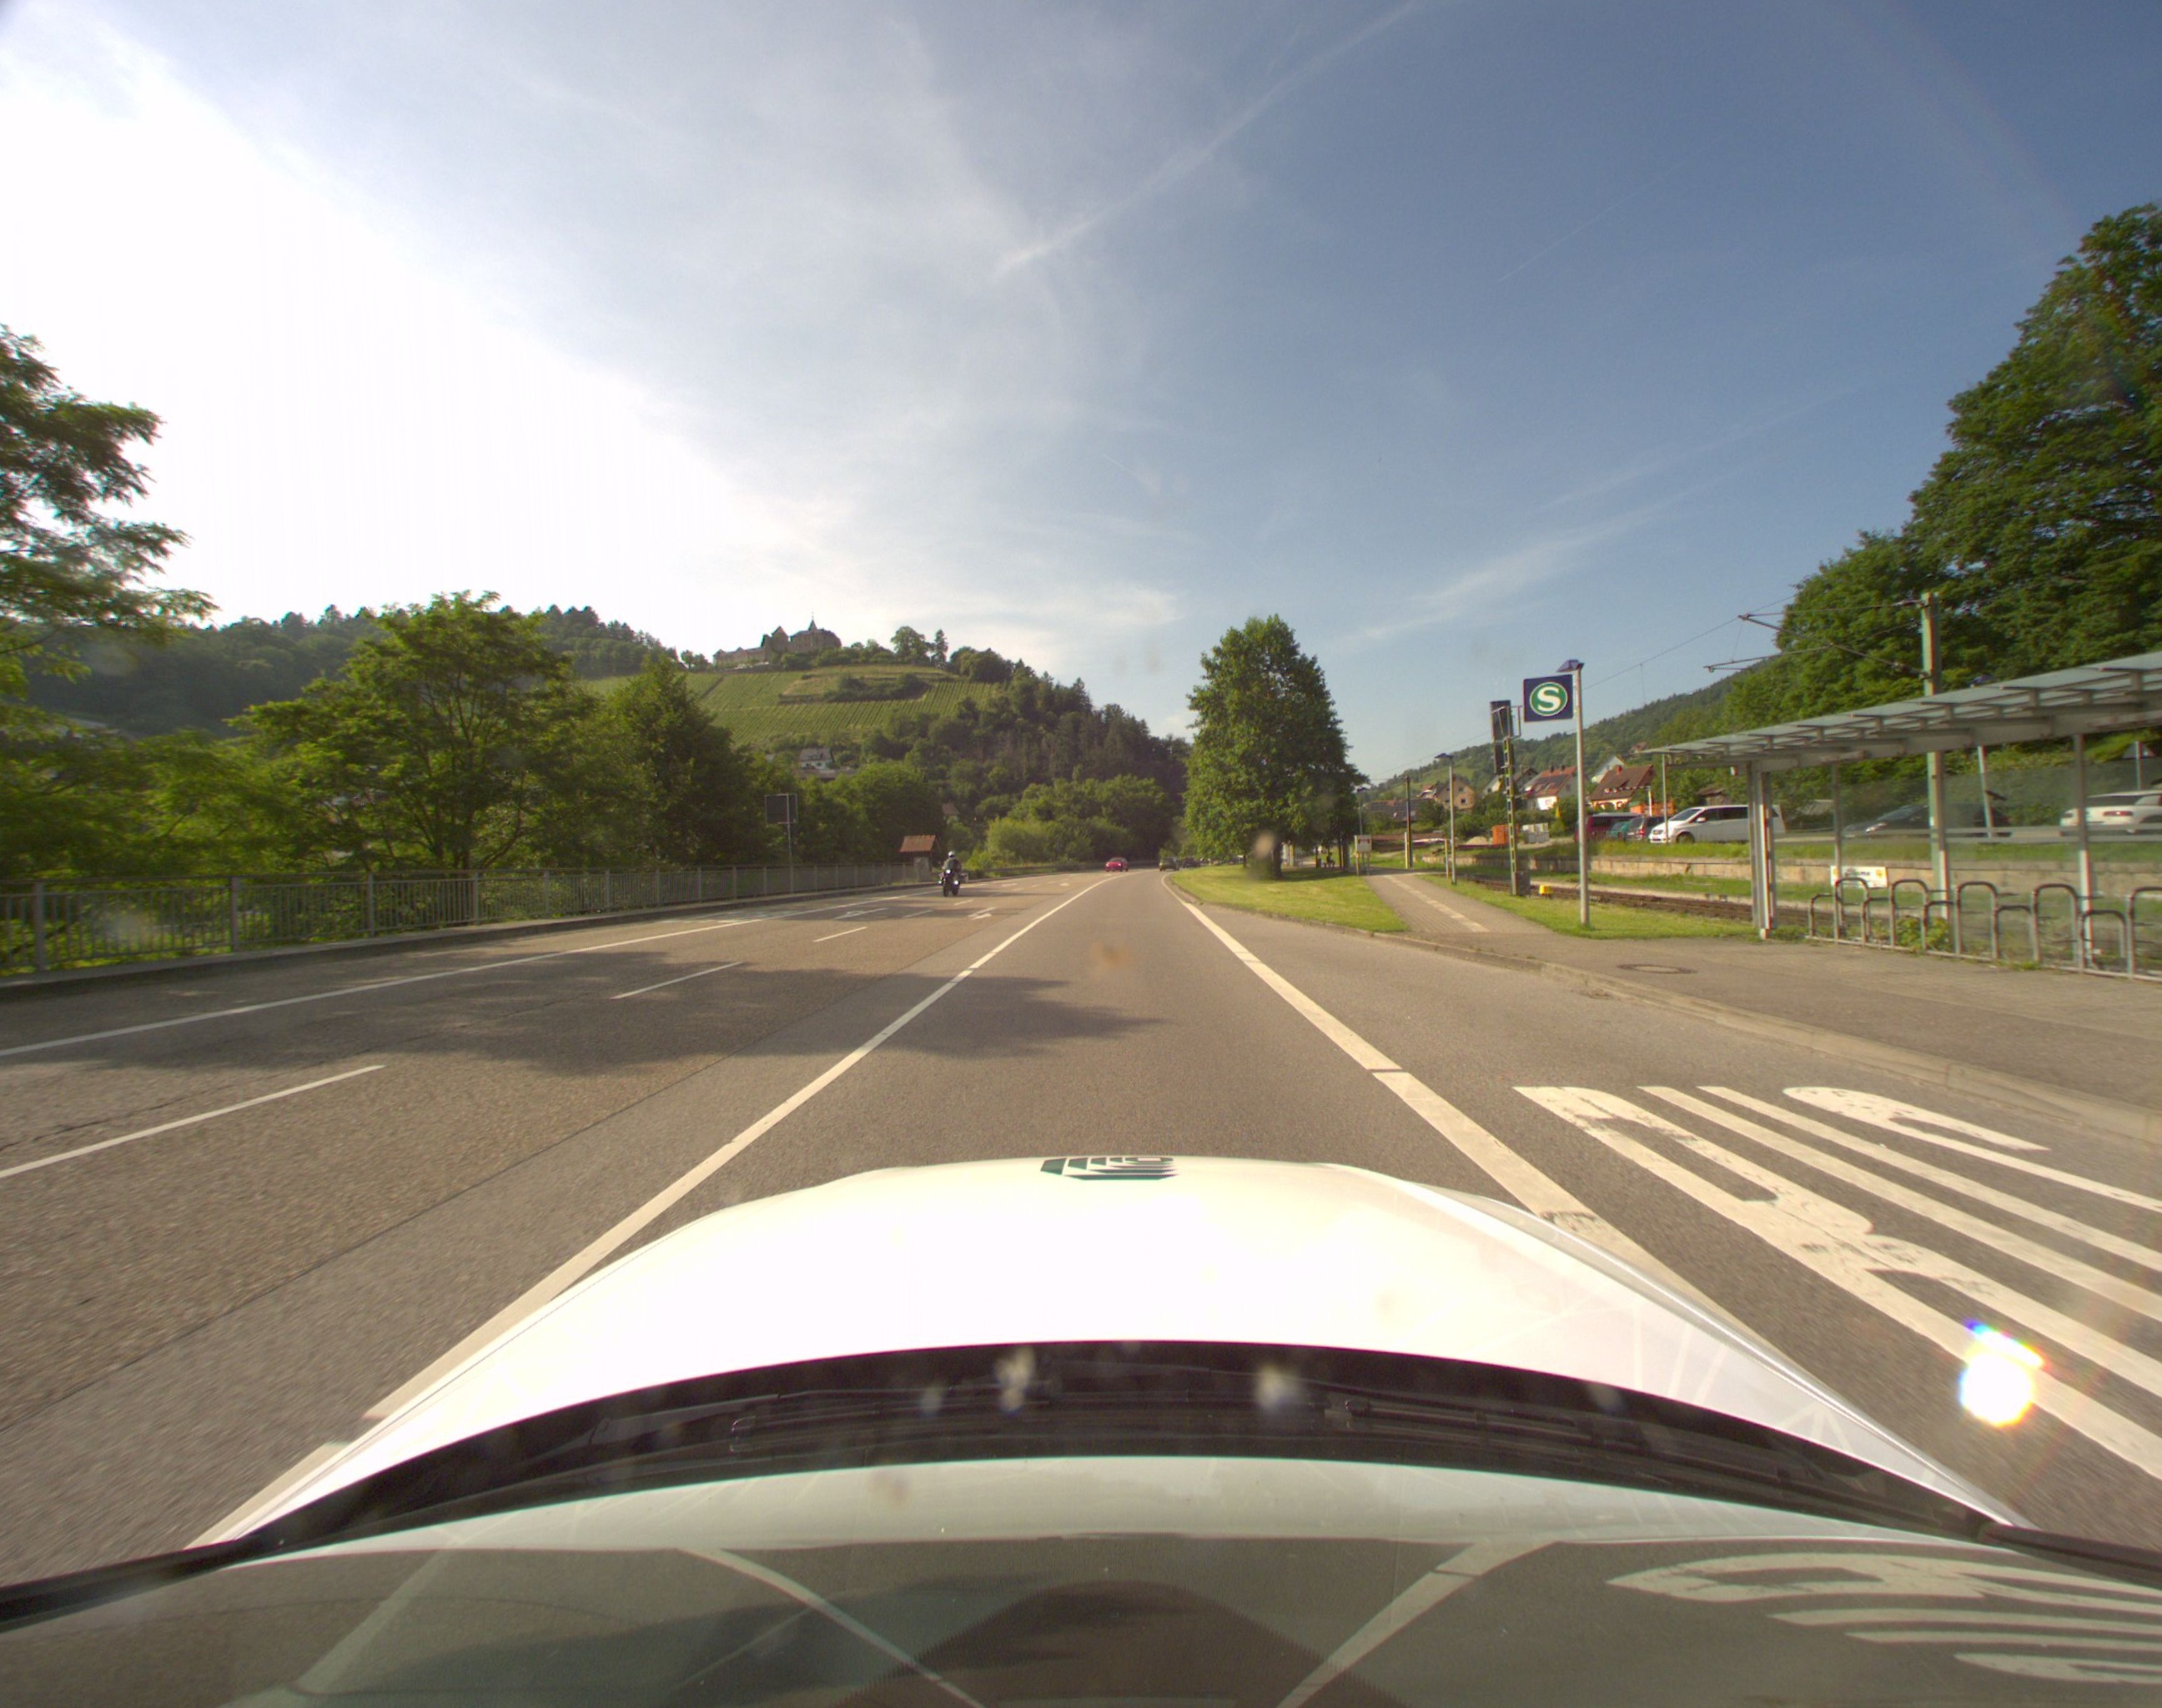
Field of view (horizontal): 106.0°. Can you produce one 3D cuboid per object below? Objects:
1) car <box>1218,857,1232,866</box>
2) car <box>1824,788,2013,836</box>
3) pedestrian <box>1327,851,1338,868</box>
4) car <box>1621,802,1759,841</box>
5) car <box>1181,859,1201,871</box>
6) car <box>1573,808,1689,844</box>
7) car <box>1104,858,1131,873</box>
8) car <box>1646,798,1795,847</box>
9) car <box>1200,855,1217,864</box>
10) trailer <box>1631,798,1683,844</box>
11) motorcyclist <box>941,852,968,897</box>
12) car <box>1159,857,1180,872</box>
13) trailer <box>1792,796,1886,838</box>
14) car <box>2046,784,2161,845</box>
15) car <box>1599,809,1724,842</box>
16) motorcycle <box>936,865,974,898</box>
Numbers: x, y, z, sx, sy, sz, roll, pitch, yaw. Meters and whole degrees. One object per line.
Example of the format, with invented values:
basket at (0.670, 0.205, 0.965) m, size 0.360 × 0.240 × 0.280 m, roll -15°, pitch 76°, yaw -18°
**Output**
car at (24.925, 1.334, 140.790) m, size 1.792 × 1.453 × 3.664 m, roll -4°, pitch -1°, yaw 18°
car at (28.259, -1.390, 27.616) m, size 4.241 × 1.343 × 1.835 m, roll -2°, pitch 0°, yaw 7°
pedestrian at (17.496, 0.372, 56.639) m, size 0.630 × 1.161 × 0.729 m, roll -4°, pitch -1°, yaw 16°
car at (29.391, -1.537, 39.460) m, size 4.924 × 1.587 × 2.146 m, roll -2°, pitch 0°, yaw 7°
car at (14.255, 1.406, 105.445) m, size 1.826 × 1.459 × 3.729 m, roll -4°, pitch -1°, yaw 16°
car at (30.162, -1.508, 44.778) m, size 4.924 × 1.690 × 1.940 m, roll -2°, pitch 0°, yaw 7°
car at (3.912, 1.210, 87.218) m, size 1.661 × 1.460 × 4.223 m, roll -2°, pitch 0°, yaw 20°
car at (28.998, -1.379, 37.085) m, size 4.924 × 1.943 × 2.146 m, roll -2°, pitch 0°, yaw 7°
car at (21.789, 0.928, 139.153) m, size 1.678 × 1.402 × 4.225 m, roll -2°, pitch 0°, yaw 24°
trailer at (52.879, -2.951, 74.925) m, size 2.582 × 3.893 × 7.779 m, roll -4°, pitch -1°, yaw 27°
motorcyclist at (-5.200, 0.819, 33.570) m, size 0.841 × 1.784 × 1.173 m, roll -1°, pitch 0°, yaw 3°
car at (9.496, 1.114, 86.945) m, size 1.716 × 1.457 × 3.423 m, roll -4°, pitch -1°, yaw 13°
trailer at (45.541, -2.194, 49.024) m, size 3.658 × 2.189 × 1.829 m, roll -3°, pitch -1°, yaw 26°
car at (26.956, -1.011, 19.966) m, size 4.073 × 1.398 × 1.813 m, roll -2°, pitch 0°, yaw 7°
car at (29.842, -1.452, 41.996) m, size 4.924 × 1.468 × 1.899 m, roll -2°, pitch 0°, yaw 7°
motorcycle at (-5.160, 1.114, 33.543) m, size 0.968 × 1.221 × 2.574 m, roll -1°, pitch 0°, yaw 4°
